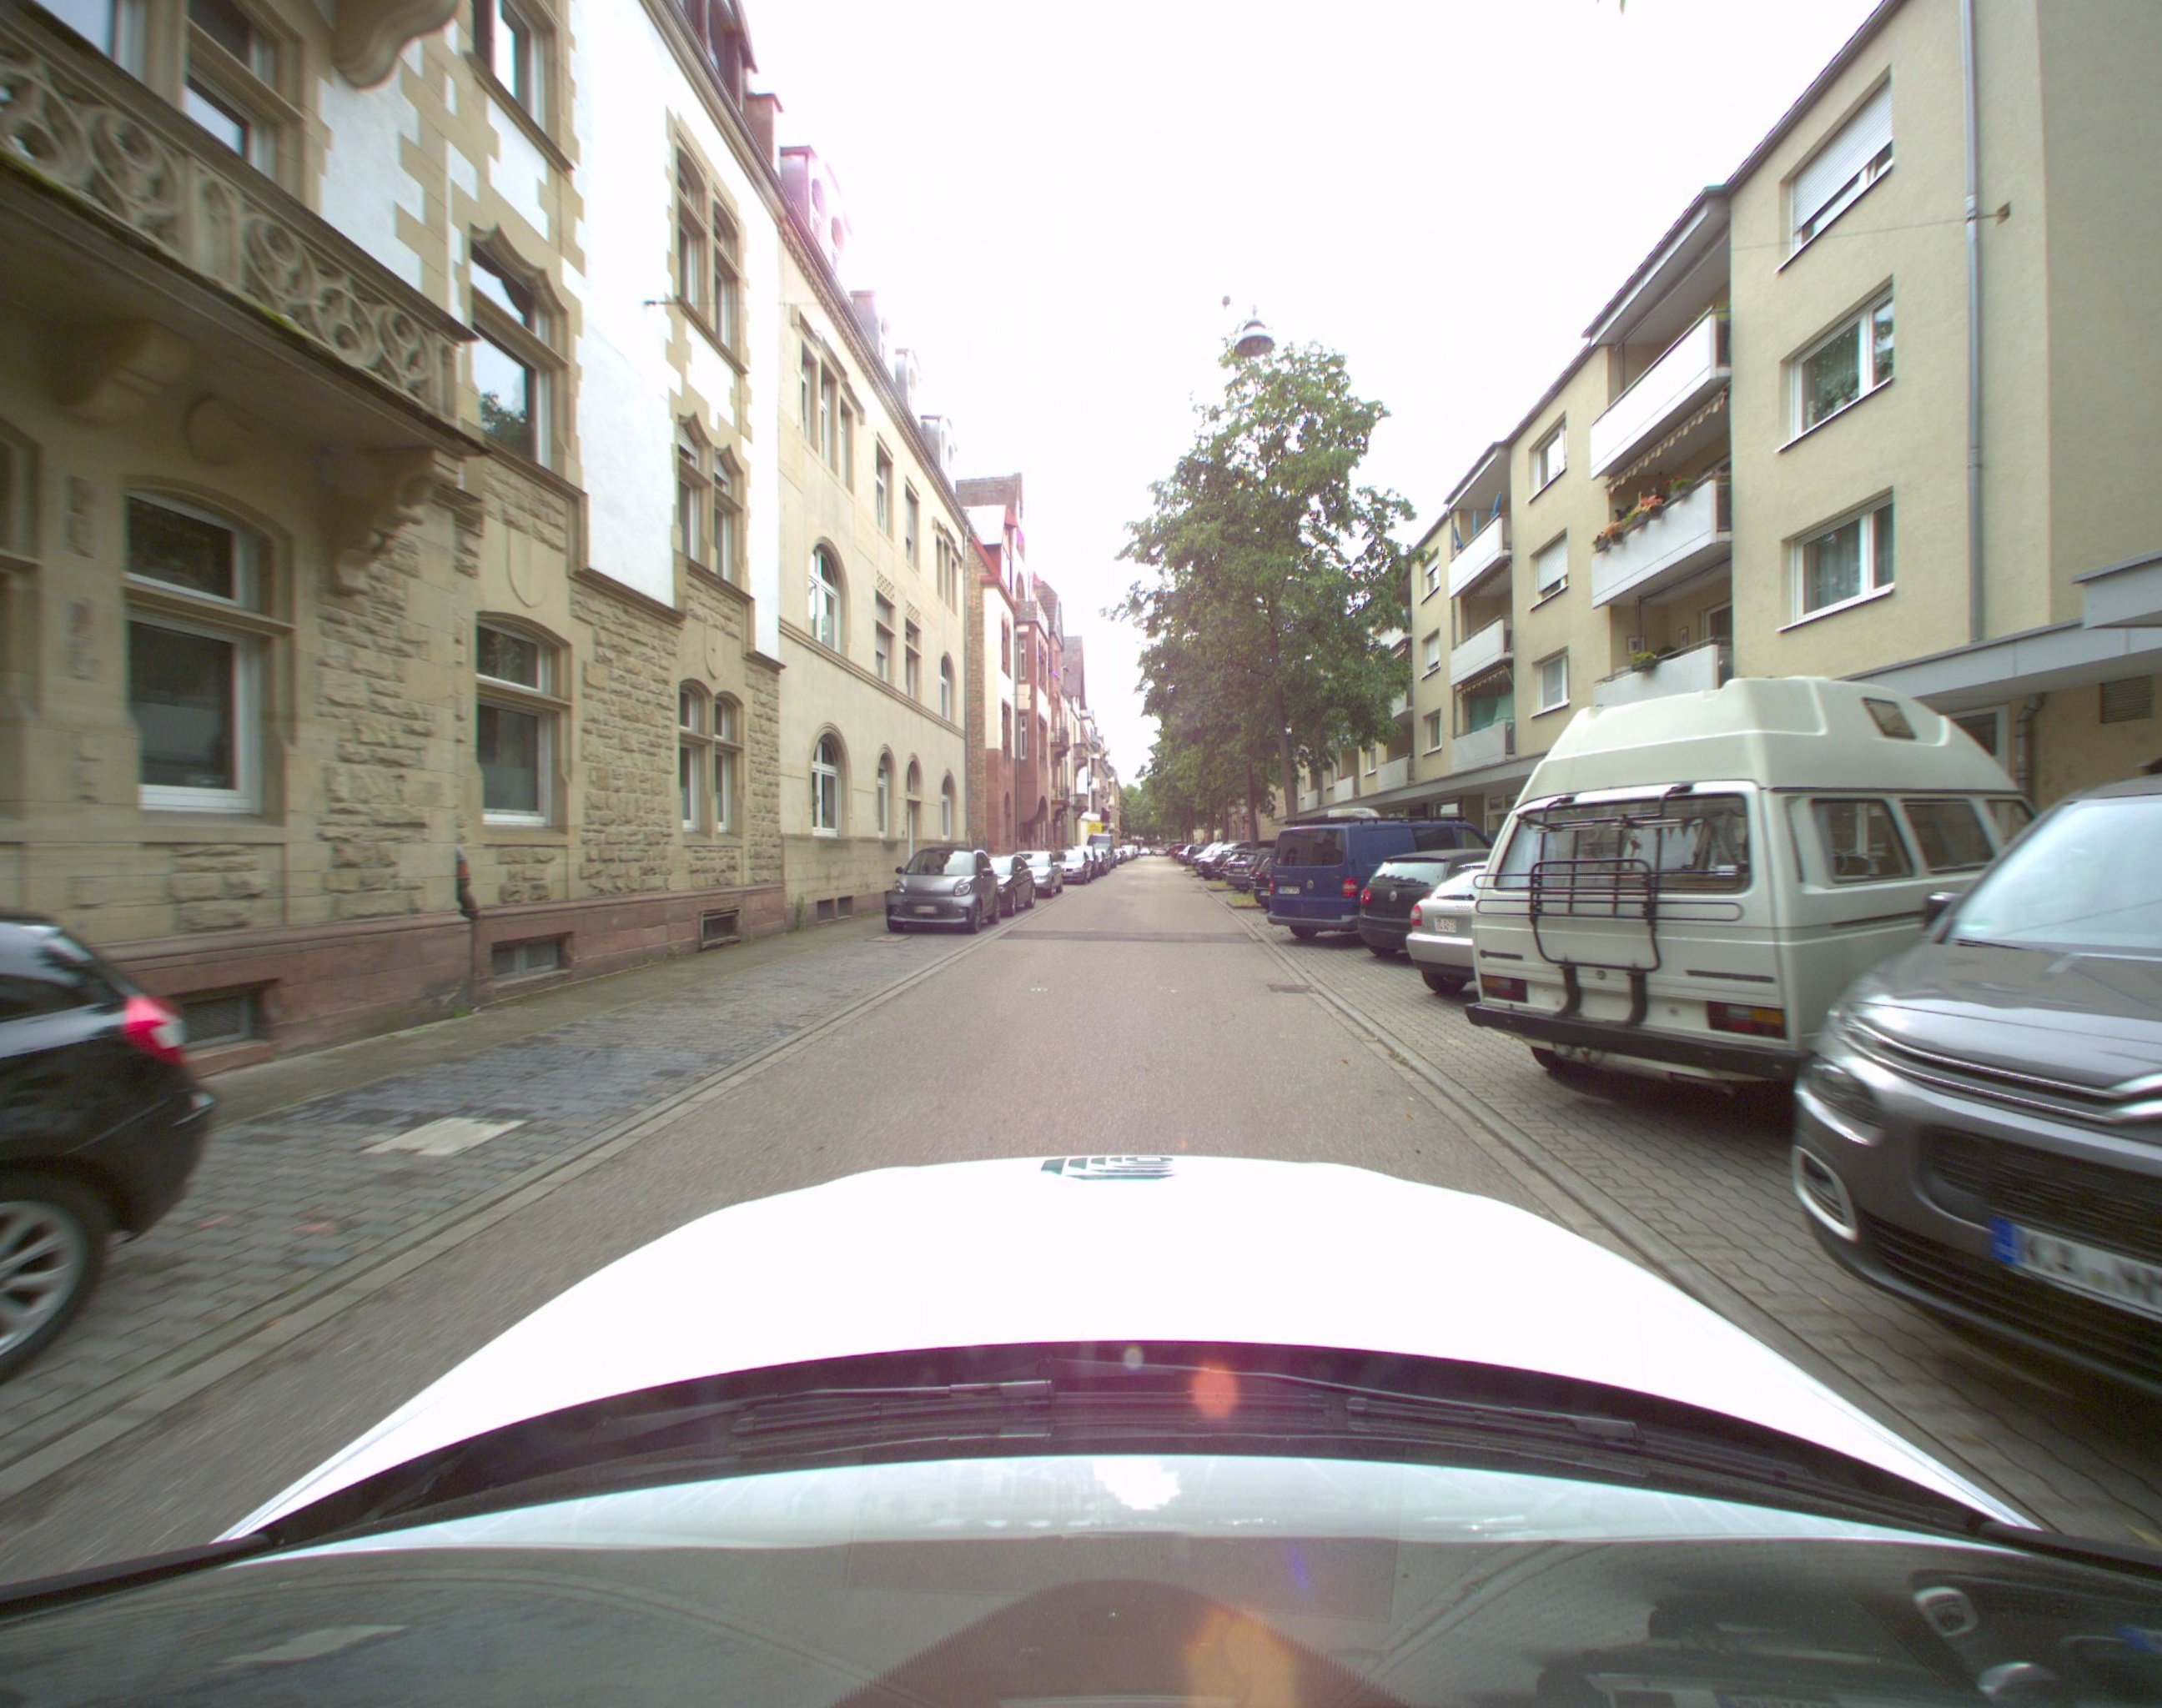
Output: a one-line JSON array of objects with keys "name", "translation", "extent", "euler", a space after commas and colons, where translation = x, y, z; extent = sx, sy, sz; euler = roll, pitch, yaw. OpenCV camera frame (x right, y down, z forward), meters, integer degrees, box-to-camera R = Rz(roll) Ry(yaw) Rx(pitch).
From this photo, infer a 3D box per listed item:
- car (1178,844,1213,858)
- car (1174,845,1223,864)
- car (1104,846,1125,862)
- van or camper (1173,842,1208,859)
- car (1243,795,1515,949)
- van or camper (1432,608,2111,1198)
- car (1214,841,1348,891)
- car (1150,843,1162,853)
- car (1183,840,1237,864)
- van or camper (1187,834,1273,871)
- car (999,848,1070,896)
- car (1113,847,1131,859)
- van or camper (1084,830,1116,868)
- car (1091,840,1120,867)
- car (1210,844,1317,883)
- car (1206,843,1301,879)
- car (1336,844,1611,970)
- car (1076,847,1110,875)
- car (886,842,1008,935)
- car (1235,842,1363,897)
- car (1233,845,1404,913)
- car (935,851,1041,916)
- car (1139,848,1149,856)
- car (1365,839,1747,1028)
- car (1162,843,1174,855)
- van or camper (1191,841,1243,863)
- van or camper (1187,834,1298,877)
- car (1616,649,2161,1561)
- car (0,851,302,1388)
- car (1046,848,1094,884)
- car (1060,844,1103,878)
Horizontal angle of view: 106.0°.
[{"name": "car", "translation": [13.036, -0.340, 93.144], "extent": [3.749, 1.465, 1.729], "euler": [-1, 0, -1]}, {"name": "car", "translation": [10.640, 0.033, 73.557], "extent": [4.031, 1.559, 1.869], "euler": [-1, 0, -26]}, {"name": "car", "translation": [3.216, 0.017, 77.638], "extent": [1.781, 1.480, 4.028], "euler": [0, 0, 5]}, {"name": "van or camper", "translation": [14.349, -0.454, 106.877], "extent": [4.165, 2.085, 1.938], "euler": [-1, 0, -23]}, {"name": "car", "translation": [5.289, 0.181, 14.216], "extent": [4.726, 2.196, 2.045], "euler": [-4, 2, -34]}, {"name": "van or camper", "translation": [4.758, 0.171, 5.500], "extent": [4.607, 2.595, 1.894], "euler": [-1, 0, -28]}, {"name": "car", "translation": [7.051, 0.402, 28.729], "extent": [4.231, 1.500, 1.961], "euler": [-3, 0, -23]}, {"name": "car", "translation": [13.771, -1.153, 149.658], "extent": [1.985, 1.794, 4.004], "euler": [1, 0, 4]}, {"name": "car", "translation": [11.166, -0.182, 70.670], "extent": [4.192, 1.869, 1.984], "euler": [-3, 0, -25]}, {"name": "van or camper", "translation": [9.015, -0.094, 49.266], "extent": [4.746, 1.994, 1.986], "euler": [-2, -2, -21]}, {"name": "car", "translation": [-1.431, 0.532, 26.533], "extent": [1.718, 1.386, 4.143], "euler": [1, 1, 5]}, {"name": "car", "translation": [5.099, -0.122, 100.527], "extent": [1.984, 1.475, 4.006], "euler": [-1, 0, 5]}, {"name": "van or camper", "translation": [1.475, -0.366, 60.596], "extent": [1.998, 2.651, 5.324], "euler": [-1, 0, 5]}, {"name": "car", "translation": [2.057, -0.055, 65.958], "extent": [1.984, 2.013, 4.899], "euler": [-1, 0, 5]}, {"name": "car", "translation": [7.771, 0.383, 34.722], "extent": [4.054, 1.483, 1.934], "euler": [-2, 0, -21]}, {"name": "car", "translation": [7.943, 0.300, 37.498], "extent": [3.867, 1.502, 1.898], "euler": [-2, 0, -24]}, {"name": "car", "translation": [5.581, 0.636, 11.528], "extent": [3.677, 1.480, 1.673], "euler": [-1, 0, -28]}, {"name": "car", "translation": [0.709, 0.365, 46.460], "extent": [1.627, 1.473, 4.006], "euler": [1, 1, 5]}, {"name": "car", "translation": [-2.486, 0.585, 15.742], "extent": [1.639, 1.570, 2.961], "euler": [1, 2, 4]}, {"name": "car", "translation": [6.792, 0.451, 25.478], "extent": [3.368, 1.496, 1.841], "euler": [-3, 0, -18]}, {"name": "car", "translation": [5.875, 0.545, 19.973], "extent": [4.131, 1.442, 1.833], "euler": [-2, 0, -35]}, {"name": "car", "translation": [-2.106, 0.647, 19.580], "extent": [1.718, 1.386, 3.935], "euler": [1, 0, 5]}, {"name": "car", "translation": [12.292, -0.402, 158.871], "extent": [1.812, 1.645, 3.758], "euler": [1, 0, 5]}, {"name": "car", "translation": [5.023, 0.656, 8.538], "extent": [3.827, 1.417, 1.709], "euler": [-4, 1, -29]}, {"name": "car", "translation": [15.395, -0.821, 143.959], "extent": [1.984, 2.013, 4.005], "euler": [2, 1, 5]}, {"name": "van or camper", "translation": [13.398, -0.214, 80.381], "extent": [4.800, 2.137, 2.038], "euler": [-1, 0, -26]}, {"name": "van or camper", "translation": [8.025, 0.068, 40.426], "extent": [5.027, 1.869, 2.111], "euler": [-3, 0, -23]}, {"name": "car", "translation": [4.159, 0.470, 2.593], "extent": [4.347, 1.854, 1.898], "euler": [-1, 0, -20]}, {"name": "car", "translation": [-4.005, 0.726, 1.136], "extent": [1.700, 1.494, 4.007], "euler": [1, 0, 7]}, {"name": "car", "translation": [-0.409, 0.470, 35.279], "extent": [1.654, 1.420, 3.935], "euler": [1, 1, 5]}, {"name": "car", "translation": [0.073, 0.305, 41.655], "extent": [1.778, 1.646, 4.368], "euler": [1, 1, 5]}]
